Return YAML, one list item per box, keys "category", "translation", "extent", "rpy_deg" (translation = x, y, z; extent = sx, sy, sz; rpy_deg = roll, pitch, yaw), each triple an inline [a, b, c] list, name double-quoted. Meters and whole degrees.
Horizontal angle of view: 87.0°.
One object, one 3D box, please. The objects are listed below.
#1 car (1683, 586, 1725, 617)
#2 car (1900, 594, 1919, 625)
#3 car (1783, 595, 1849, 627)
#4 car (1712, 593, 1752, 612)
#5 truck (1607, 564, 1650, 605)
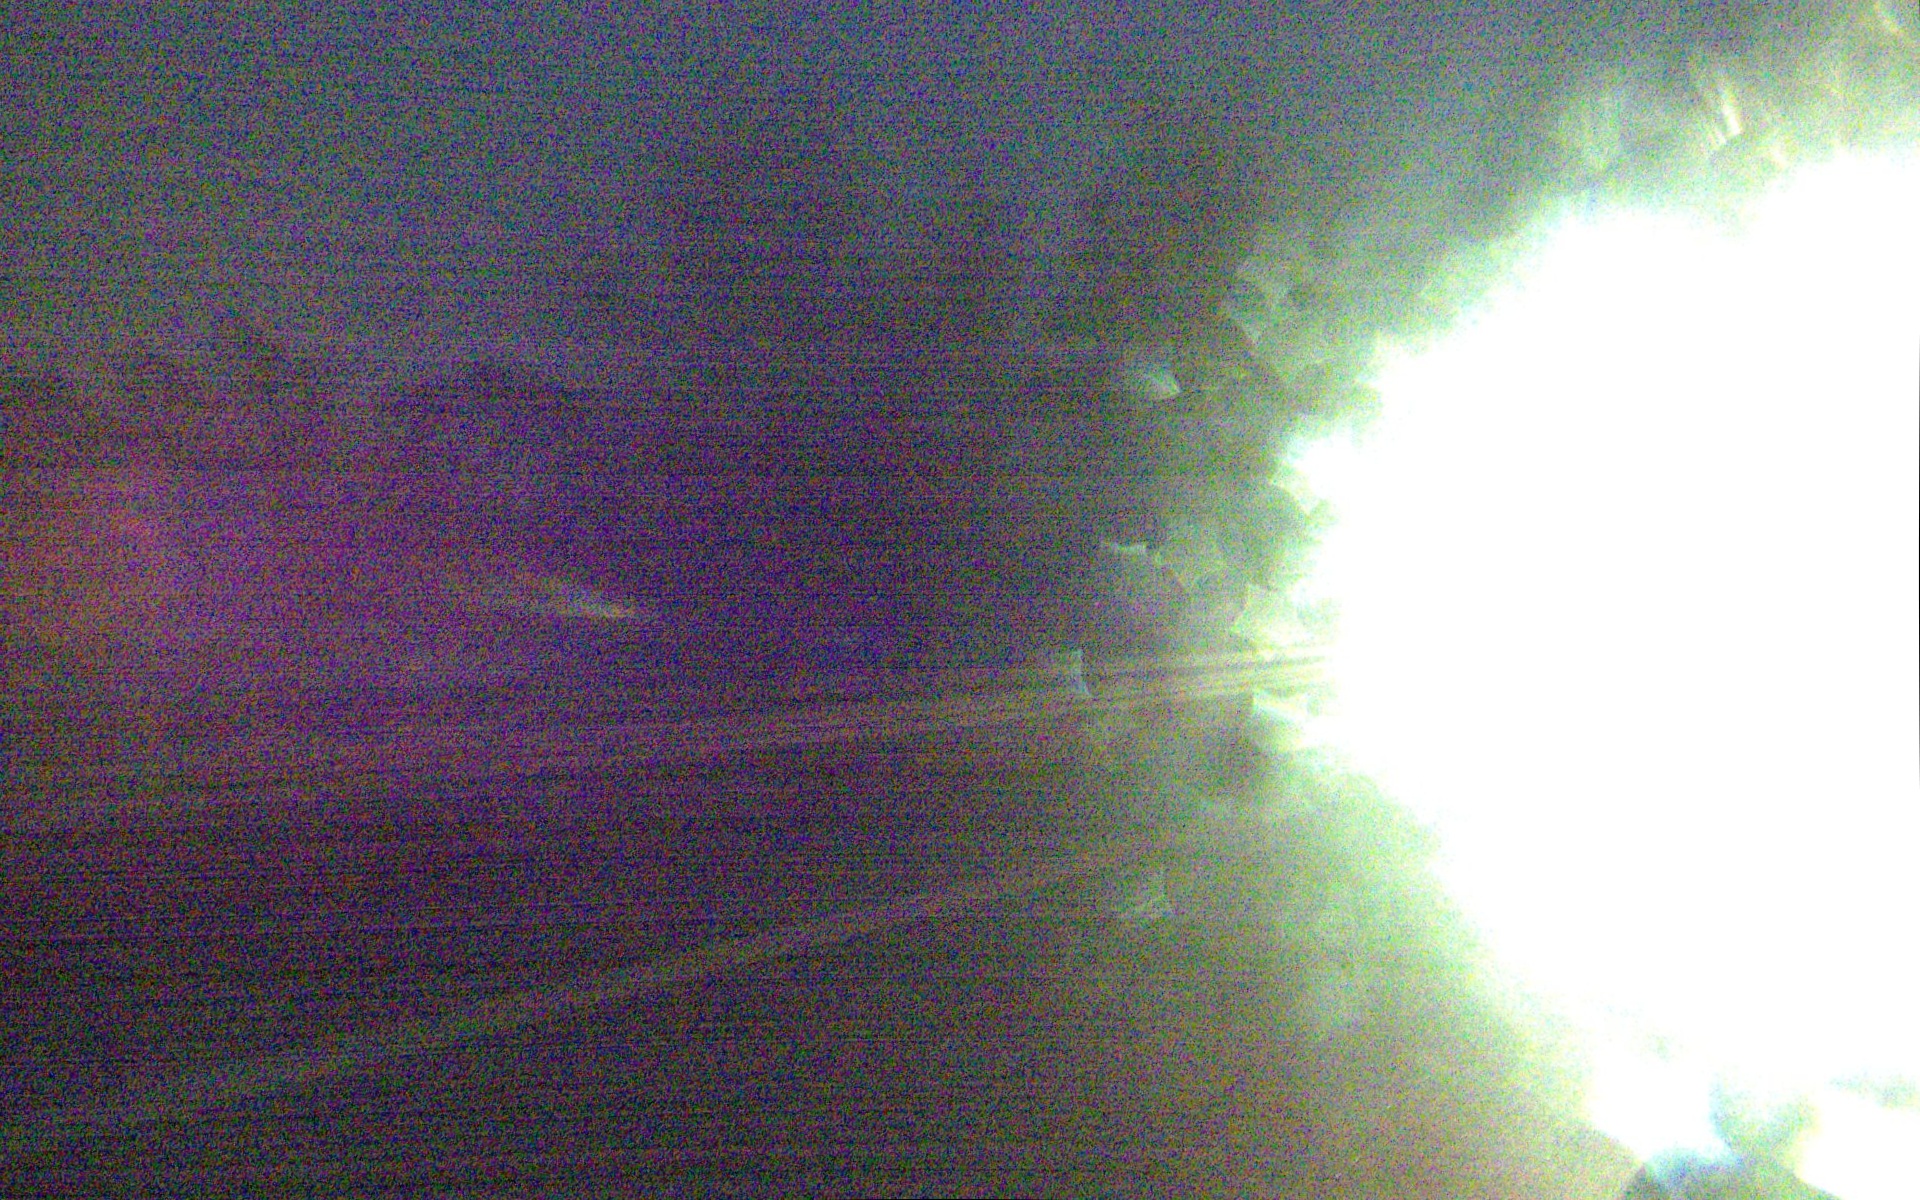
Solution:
- category: "car"
  translation: [44.137, 0.092, 60.081]
  extent: [1.729, 1.705, 4.071]
  rpy_deg: [-2, -1, 33]
- category: "car"
  translation: [47.714, 0.451, 48.983]
  extent: [1.710, 1.500, 4.014]
  rpy_deg: [-2, -1, 20]
- category: "car"
  translation: [37.019, 0.457, 43.867]
  extent: [1.749, 1.328, 4.035]
  rpy_deg: [1, 0, 34]
- category: "car"
  translation: [71.550, 0.270, 93.829]
  extent: [1.767, 1.672, 4.026]
  rpy_deg: [0, -1, 20]
- category: "truck"
  translation: [74.237, -1.655, 112.457]
  extent: [2.507, 4.392, 5.530]
  rpy_deg: [0, 0, 19]
